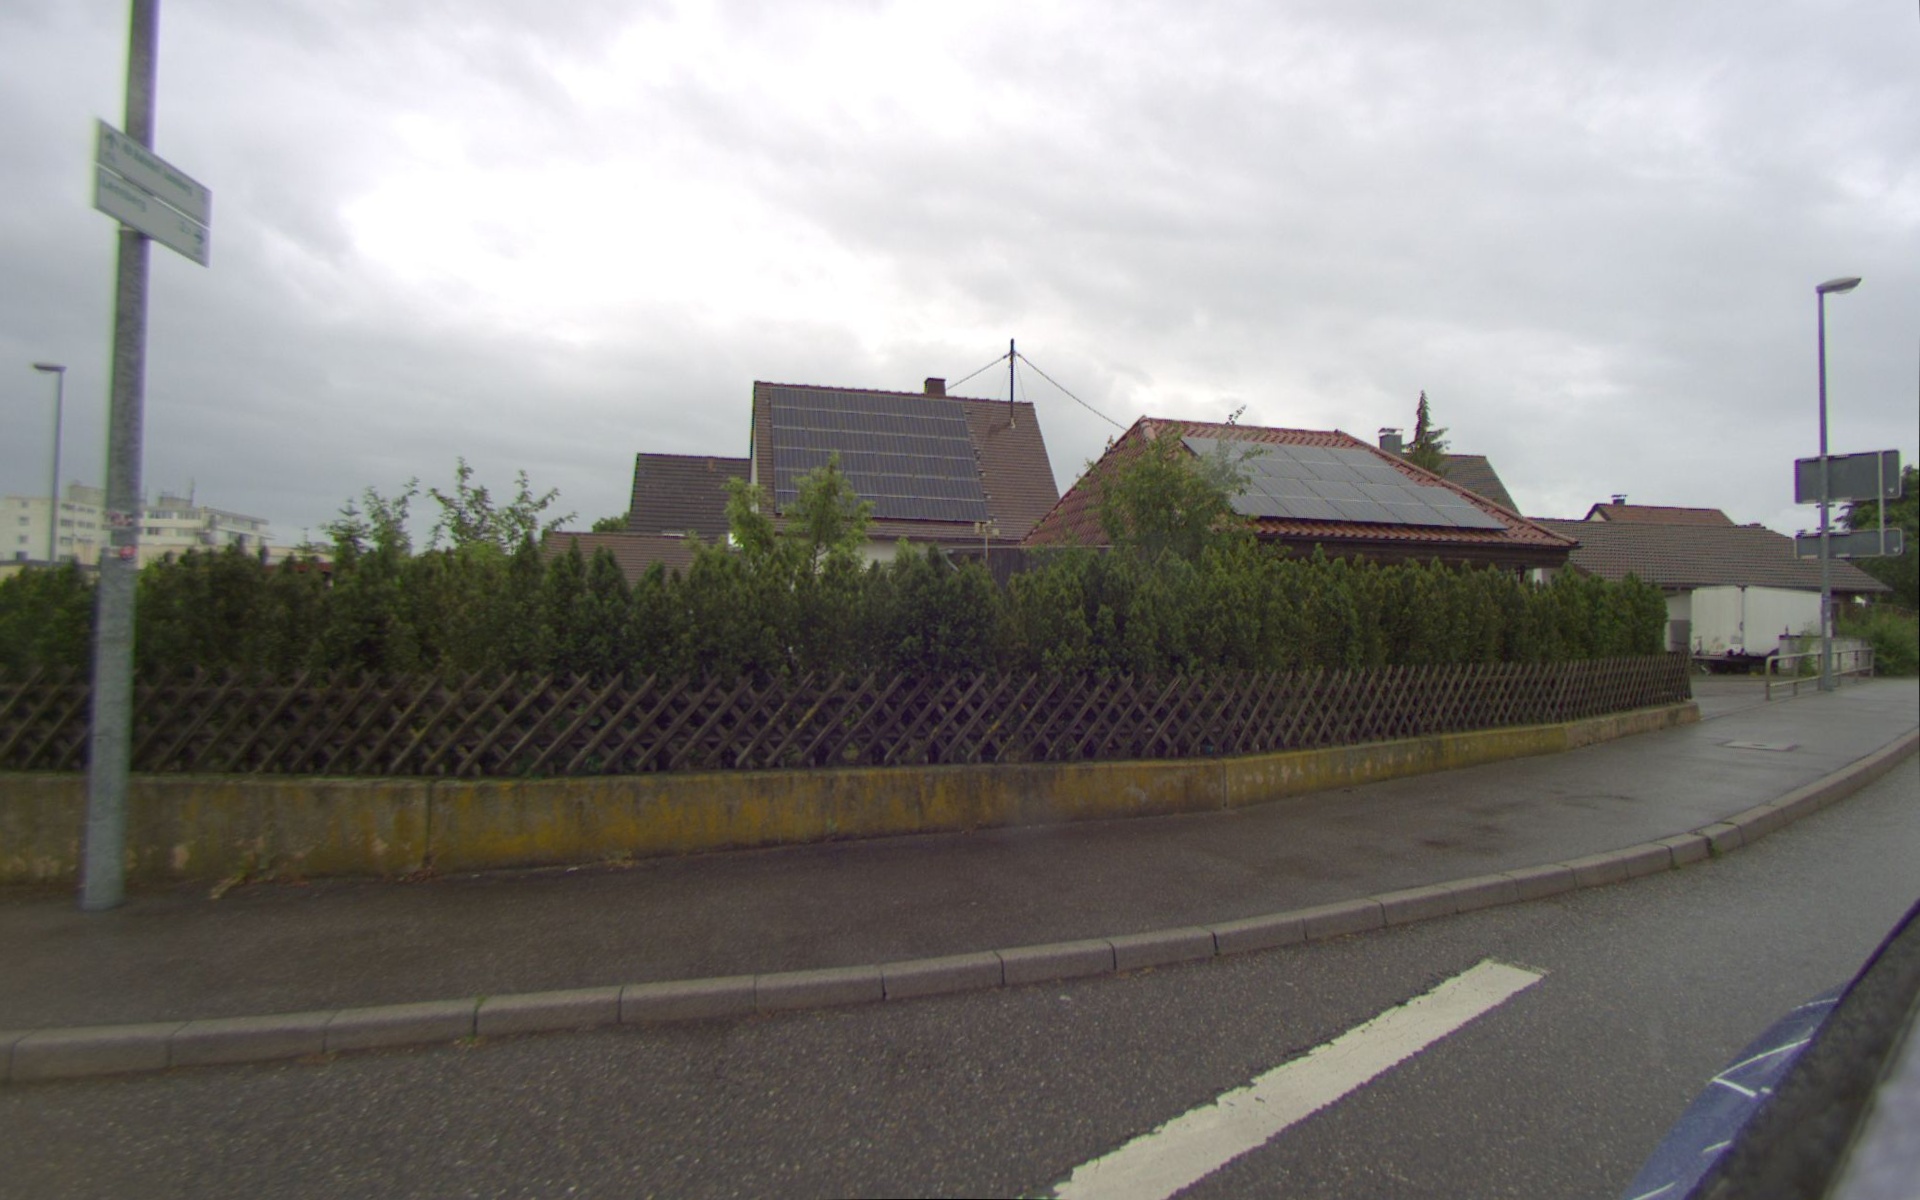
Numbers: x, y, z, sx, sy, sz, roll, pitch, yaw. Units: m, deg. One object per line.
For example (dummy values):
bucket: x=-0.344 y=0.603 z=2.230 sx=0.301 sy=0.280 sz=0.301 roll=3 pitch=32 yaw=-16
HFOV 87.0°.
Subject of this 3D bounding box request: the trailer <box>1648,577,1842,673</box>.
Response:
trailer: x=21.905 y=0.698 z=28.289 sx=4.605 sy=2.550 sz=1.652 roll=0 pitch=-2 yaw=-12
